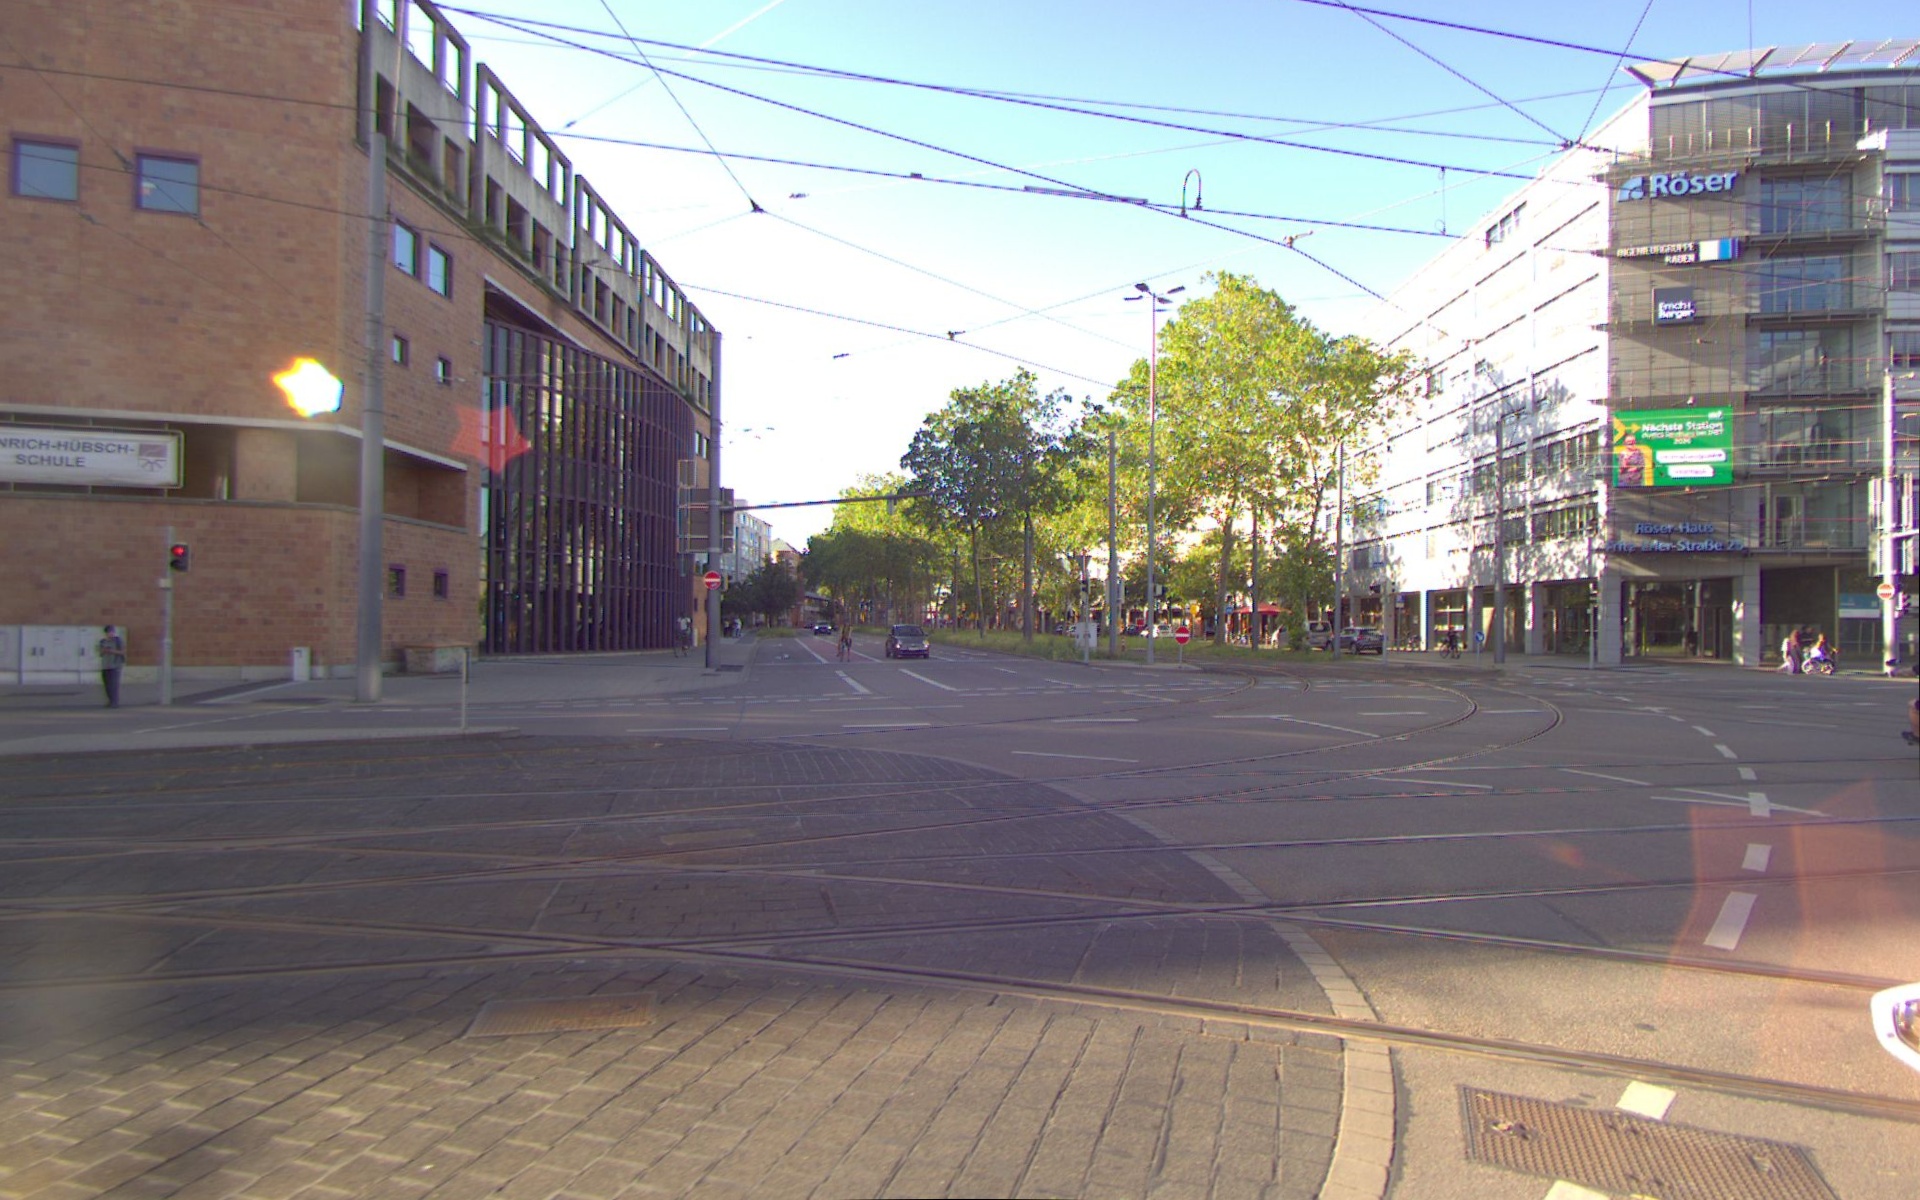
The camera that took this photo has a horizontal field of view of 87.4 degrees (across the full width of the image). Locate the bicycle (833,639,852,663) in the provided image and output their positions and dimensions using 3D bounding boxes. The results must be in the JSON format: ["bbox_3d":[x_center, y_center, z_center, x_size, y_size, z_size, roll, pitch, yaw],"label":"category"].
[{"bbox_3d":[-4.859,2.104,41.569,0.526,0.925,1.569,1,-1,2],"label":"bicycle"}]

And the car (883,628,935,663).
[{"bbox_3d":[-2.305,2.017,44.999,1.627,1.346,3.611,1,0,-14],"label":"car"}]

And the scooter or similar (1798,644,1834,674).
[{"bbox_3d":[33.913,2.326,39.801,0.546,1.144,1.006,1,-1,-41],"label":"scooter or similar"}]

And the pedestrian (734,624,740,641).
[{"bbox_3d":[-18.598,2.722,83.738,0.384,1.435,0.458,1,-1,-4],"label":"pedestrian"}]

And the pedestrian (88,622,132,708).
[{"bbox_3d":[-16.560,1.252,19.567,0.498,1.639,0.507,1,0,-23],"label":"pedestrian"}]

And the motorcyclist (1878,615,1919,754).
[{"bbox_3d":[11.571,0.978,11.827,1.010,1.573,1.281,1,0,39],"label":"motorcyclist"}]

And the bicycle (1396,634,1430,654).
[{"bbox_3d":[26.813,2.591,59.476,1.804,1.167,0.470,0,0,-6],"label":"bicycle"}]

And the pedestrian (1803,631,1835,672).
[{"bbox_3d":[34.831,2.083,40.734,0.642,1.638,0.723,1,-1,-4],"label":"pedestrian"}]

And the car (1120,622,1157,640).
[{"bbox_3d":[16.356,2.810,92.349,1.958,1.650,4.077,0,-1,-11],"label":"car"}]

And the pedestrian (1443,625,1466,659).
[{"bbox_3d":[25.198,2.131,51.198,0.596,1.633,0.835,-2,1,-12],"label":"pedestrian"}]

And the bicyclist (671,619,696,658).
[{"bbox_3d":[-11.527,1.606,41.859,0.672,1.611,0.928,1,-1,8],"label":"bicyclist"}]

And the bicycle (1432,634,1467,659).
[{"bbox_3d":[24.989,2.354,51.282,0.602,1.179,1.844,-2,1,-10],"label":"bicycle"}]

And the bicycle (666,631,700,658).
[{"bbox_3d":[-11.508,1.831,41.828,0.604,1.094,1.921,1,-1,9],"label":"bicycle"}]

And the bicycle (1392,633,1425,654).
[{"bbox_3d":[26.767,2.590,59.952,1.804,1.167,0.470,0,0,-6],"label":"bicycle"}]

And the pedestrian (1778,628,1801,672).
[{"bbox_3d":[33.376,1.999,40.426,0.577,1.731,0.630,1,-1,-42],"label":"pedestrian"}]

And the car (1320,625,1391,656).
[{"bbox_3d":[22.615,2.297,57.605,1.831,1.593,4.409,-1,-1,-8],"label":"car"}]

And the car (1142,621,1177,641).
[{"bbox_3d":[17.177,2.684,86.586,1.831,1.660,3.863,1,-1,-8],"label":"car"}]

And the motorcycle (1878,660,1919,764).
[{"bbox_3d":[11.618,1.315,11.852,0.993,1.140,2.313,1,-2,39],"label":"motorcycle"}]

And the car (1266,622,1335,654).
[{"bbox_3d":[21.372,2.353,63.213,1.894,1.868,4.915,-1,-1,-11],"label":"car"}]

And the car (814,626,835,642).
[{"bbox_3d":[-15.258,3.786,112.757,1.798,1.583,4.329,1,0,-14],"label":"car"}]

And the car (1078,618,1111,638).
[{"bbox_3d":[13.863,2.853,103.778,2.000,2.003,4.405,0,-1,-11],"label":"car"}]

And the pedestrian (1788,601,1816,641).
[{"bbox_3d":[37.257,0.941,44.447,0.676,1.738,0.646,1,-1,0],"label":"pedestrian"}]

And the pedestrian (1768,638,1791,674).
[{"bbox_3d":[32.578,2.221,39.935,0.542,1.420,0.630,1,-1,-42],"label":"pedestrian"}]

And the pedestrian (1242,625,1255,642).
[{"bbox_3d":[26.212,3.039,91.294,0.856,1.567,0.993,1,-1,-5],"label":"pedestrian"}]

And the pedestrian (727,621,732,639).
[{"bbox_3d":[-19.195,2.498,83.581,0.358,1.439,0.332,1,0,-3],"label":"pedestrian"}]

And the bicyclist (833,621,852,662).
[{"bbox_3d":[-4.839,1.709,41.394,0.612,1.643,0.815,1,-1,2],"label":"bicyclist"}]
